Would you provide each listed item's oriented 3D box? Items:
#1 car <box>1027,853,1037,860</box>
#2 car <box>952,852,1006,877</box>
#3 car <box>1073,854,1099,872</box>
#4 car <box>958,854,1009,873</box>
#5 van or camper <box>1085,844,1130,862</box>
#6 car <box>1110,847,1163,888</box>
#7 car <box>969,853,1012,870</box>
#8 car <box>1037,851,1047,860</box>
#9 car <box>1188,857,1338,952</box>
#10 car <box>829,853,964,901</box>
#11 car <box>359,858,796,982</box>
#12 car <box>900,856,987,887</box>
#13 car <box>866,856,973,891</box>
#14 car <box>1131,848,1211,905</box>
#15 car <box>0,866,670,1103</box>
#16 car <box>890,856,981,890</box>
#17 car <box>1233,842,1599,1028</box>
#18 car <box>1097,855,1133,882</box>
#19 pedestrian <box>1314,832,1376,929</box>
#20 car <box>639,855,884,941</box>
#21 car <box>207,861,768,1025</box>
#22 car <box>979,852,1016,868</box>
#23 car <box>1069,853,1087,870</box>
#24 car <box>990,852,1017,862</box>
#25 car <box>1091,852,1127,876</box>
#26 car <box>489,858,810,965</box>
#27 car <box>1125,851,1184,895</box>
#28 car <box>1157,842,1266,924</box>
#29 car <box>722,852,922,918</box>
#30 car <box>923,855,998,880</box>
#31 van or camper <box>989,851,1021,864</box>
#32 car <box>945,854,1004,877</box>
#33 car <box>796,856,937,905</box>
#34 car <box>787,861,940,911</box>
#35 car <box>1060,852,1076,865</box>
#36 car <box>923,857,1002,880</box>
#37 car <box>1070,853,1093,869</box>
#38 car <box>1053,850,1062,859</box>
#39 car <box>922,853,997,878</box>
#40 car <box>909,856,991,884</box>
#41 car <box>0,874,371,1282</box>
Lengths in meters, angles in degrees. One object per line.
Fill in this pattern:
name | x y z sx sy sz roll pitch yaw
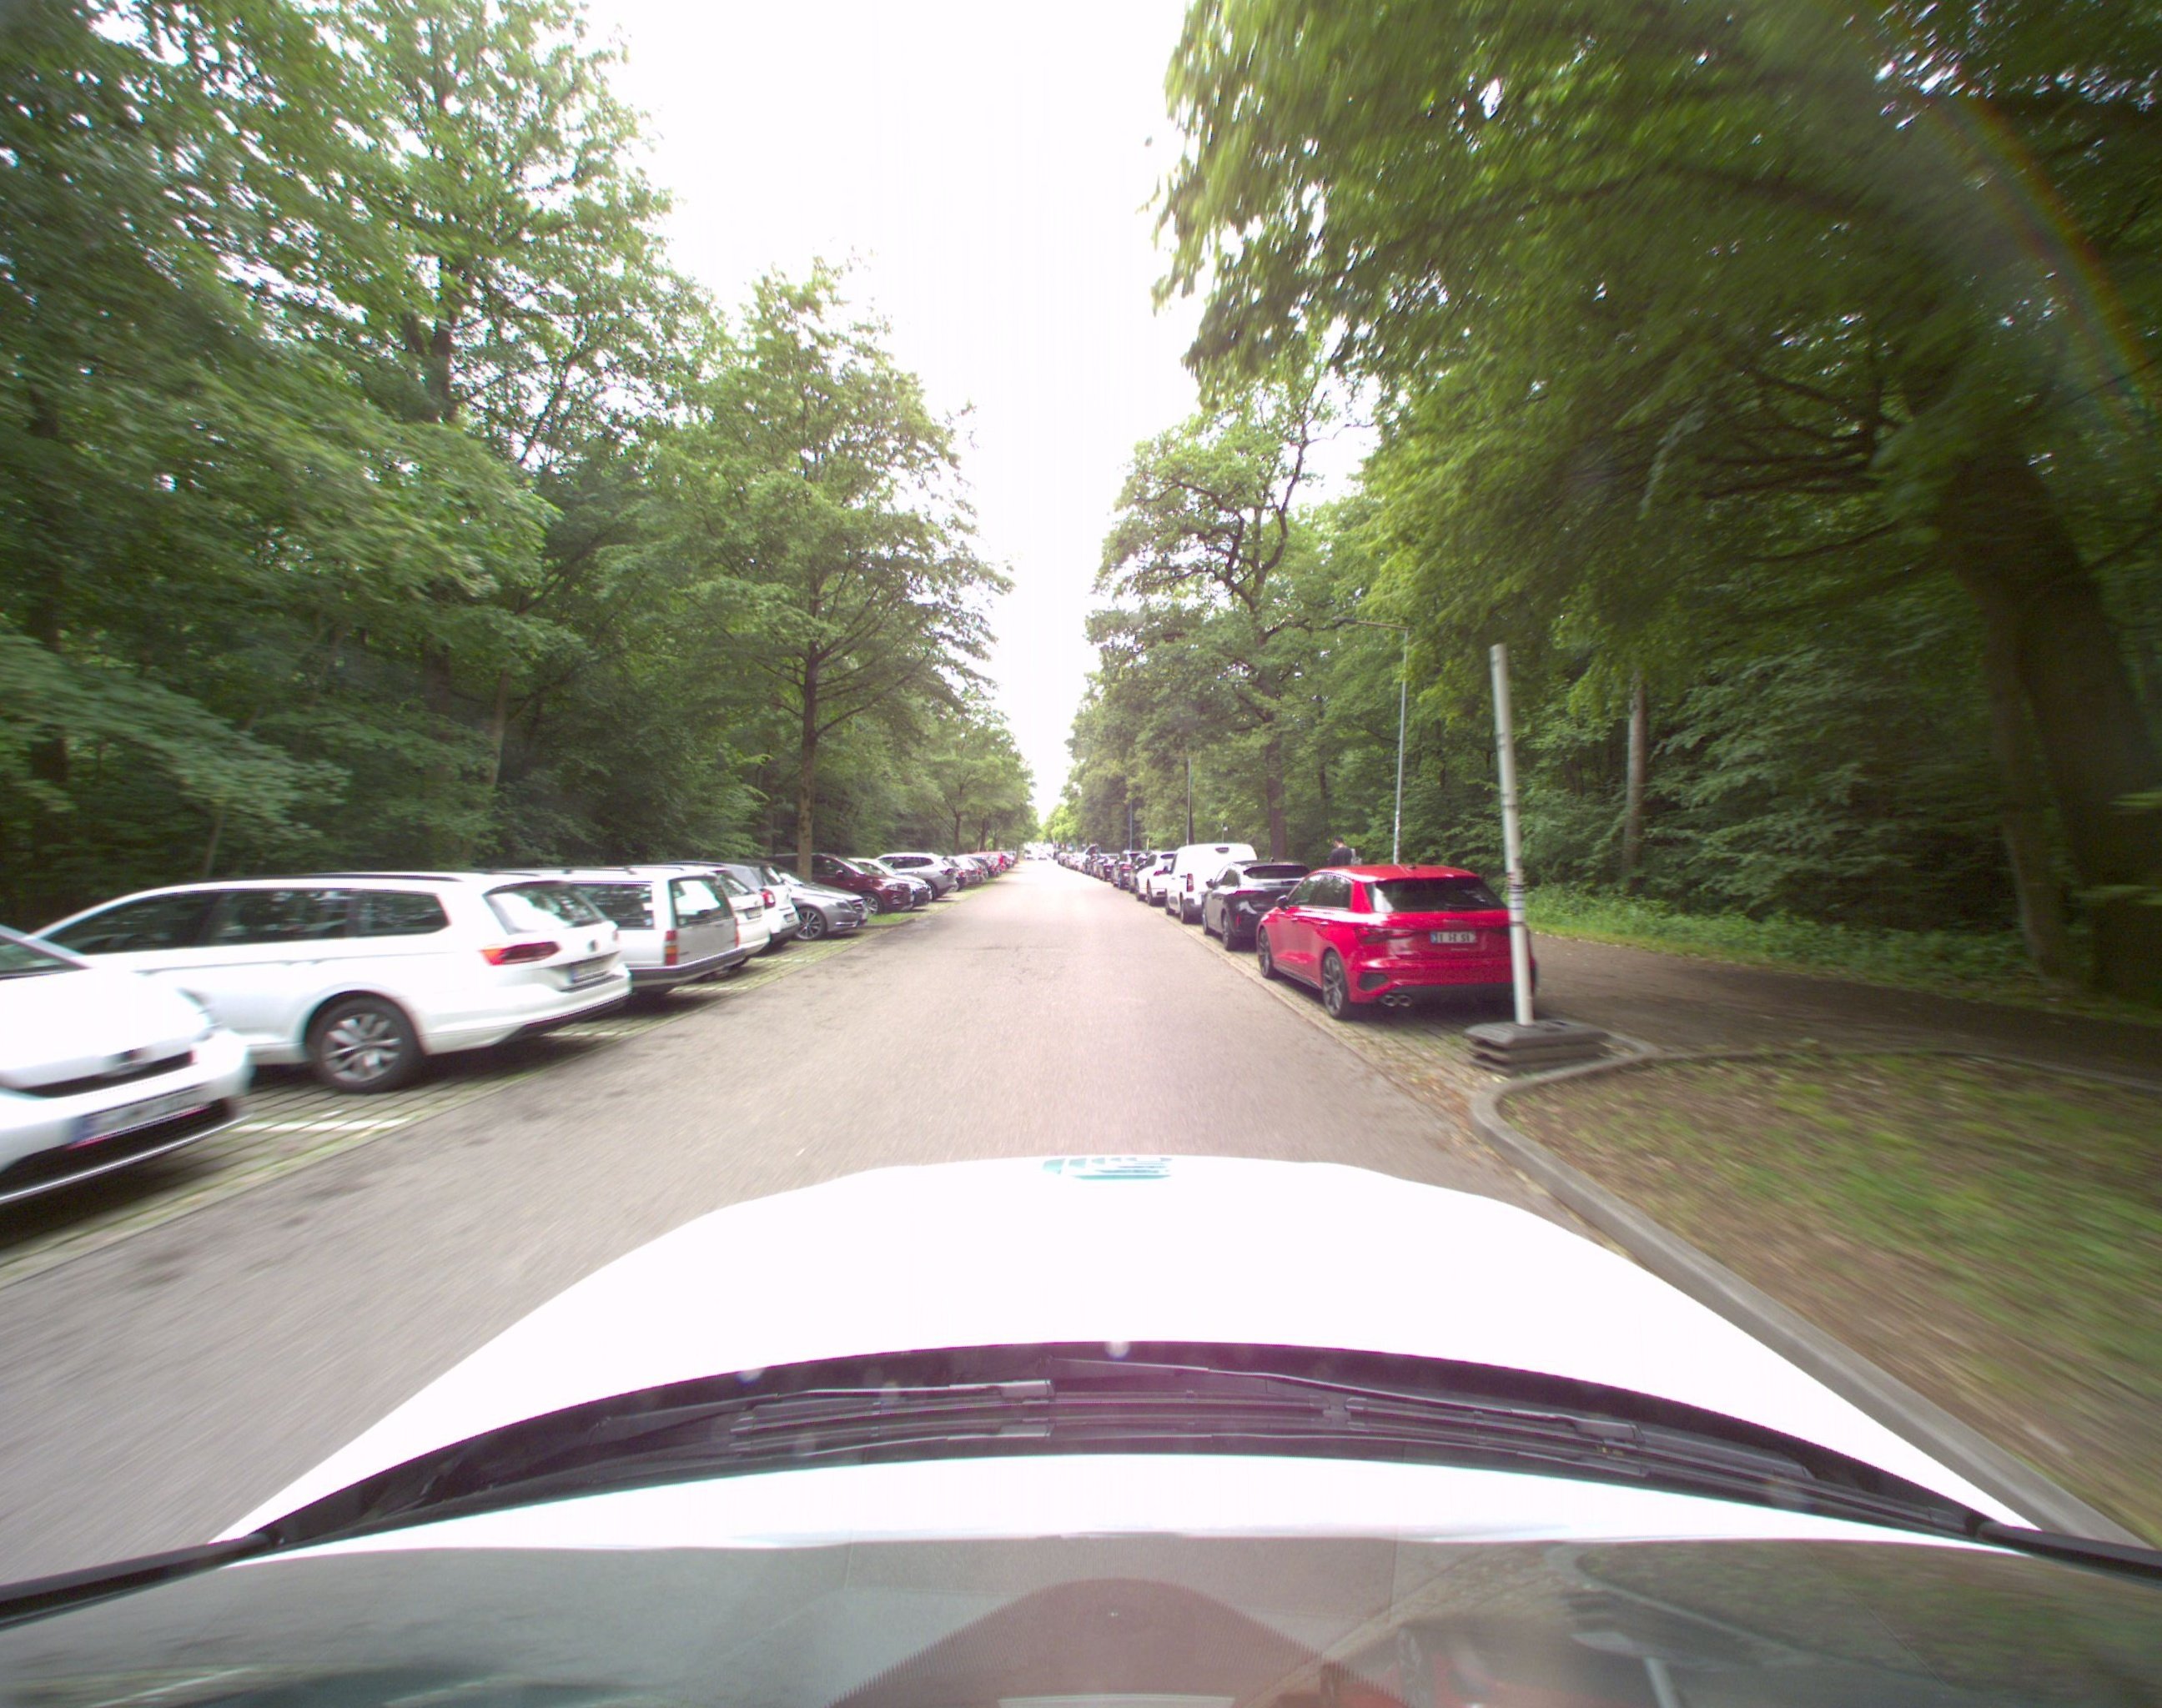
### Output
car | -9.362 0.474 154.630 1.734 1.161 3.410 1 3 -2
car | -7.605 0.750 60.966 3.982 1.816 2.111 0 0 -6
car | 0.424 0.758 71.955 1.933 1.475 3.986 0 0 -4
car | -7.843 0.752 65.804 3.978 1.474 2.113 0 0 -3
van or camper | 4.643 -0.187 143.432 7.343 2.888 2.634 0 3 -18
car | 2.501 0.568 37.727 1.885 1.747 4.943 0 0 -3
car | -8.413 0.730 75.713 3.823 1.536 1.869 0 0 -3
car | -7.324 0.225 153.171 1.687 1.415 3.150 1 3 -4
car | 3.077 0.773 14.628 1.720 1.422 4.283 0 0 0
car | -6.339 0.772 28.363 4.213 1.633 2.028 0 0 -2
car | -6.433 0.799 10.869 4.551 1.486 1.939 0 0 -2
car | -6.861 0.876 41.031 4.101 1.480 1.994 0 0 -4
car | -7.090 0.835 36.072 4.388 1.488 1.836 0 0 -2
car | 2.789 0.635 26.152 1.782 1.662 4.711 0 0 -4
car | -6.023 0.858 6.323 4.554 1.447 2.083 -1 0 -5
car | -6.819 0.858 38.569 4.083 1.523 1.926 0 0 -6
car | 3.149 0.633 8.995 1.987 1.479 4.970 0 0 0
car | 1.974 0.816 48.325 1.634 1.477 4.144 0 0 -5
pedestrian | 4.847 0.476 15.001 0.815 1.726 1.003 0 0 -1
car | -6.101 0.802 15.949 4.024 1.555 1.918 0 0 -3
car | -5.981 0.852 8.669 4.548 1.486 1.869 -1 0 -1
car | -9.270 0.665 90.425 3.977 1.640 2.007 0 0 -3
car | -0.308 0.742 83.205 1.707 1.728 3.996 0 0 -3
car | -10.751 0.468 113.095 3.584 1.361 1.818 0 0 -16
car | 1.838 0.608 54.174 1.974 1.537 4.616 0 0 -4
car | -6.838 0.863 13.330 4.229 1.550 1.843 0 0 -6
car | 2.800 0.682 32.013 1.747 1.607 4.442 0 0 -3
car | 3.051 0.615 19.952 1.740 1.780 4.547 0 0 -3
car | -6.508 0.747 20.859 4.503 1.584 1.925 0 0 -2
car | -7.136 0.779 48.479 4.293 1.449 1.752 0 0 -8
van or camper | -11.621 0.458 124.069 4.486 1.868 1.908 0 3 -18
car | -7.291 0.769 55.989 3.984 1.530 1.995 0 0 -8
car | -6.783 0.821 26.046 4.010 1.465 1.798 0 0 0
car | -6.213 0.914 23.641 3.978 1.364 1.785 0 0 -3
car | -1.632 0.540 102.806 1.916 1.520 3.884 0 0 -2
car | -7.321 0.898 50.820 4.723 1.343 1.984 0 0 -5
car | 0.037 0.649 77.612 1.720 1.494 3.763 0 0 -8
car | -4.479 0.122 157.749 1.625 1.415 3.407 1 3 -4
car | -7.928 0.724 53.490 4.723 1.595 1.956 0 0 -5
car | -6.949 0.845 43.511 4.098 1.431 1.963 0 0 -2
car | -6.221 0.873 3.614 4.356 1.486 1.890 -1 -1 -3
